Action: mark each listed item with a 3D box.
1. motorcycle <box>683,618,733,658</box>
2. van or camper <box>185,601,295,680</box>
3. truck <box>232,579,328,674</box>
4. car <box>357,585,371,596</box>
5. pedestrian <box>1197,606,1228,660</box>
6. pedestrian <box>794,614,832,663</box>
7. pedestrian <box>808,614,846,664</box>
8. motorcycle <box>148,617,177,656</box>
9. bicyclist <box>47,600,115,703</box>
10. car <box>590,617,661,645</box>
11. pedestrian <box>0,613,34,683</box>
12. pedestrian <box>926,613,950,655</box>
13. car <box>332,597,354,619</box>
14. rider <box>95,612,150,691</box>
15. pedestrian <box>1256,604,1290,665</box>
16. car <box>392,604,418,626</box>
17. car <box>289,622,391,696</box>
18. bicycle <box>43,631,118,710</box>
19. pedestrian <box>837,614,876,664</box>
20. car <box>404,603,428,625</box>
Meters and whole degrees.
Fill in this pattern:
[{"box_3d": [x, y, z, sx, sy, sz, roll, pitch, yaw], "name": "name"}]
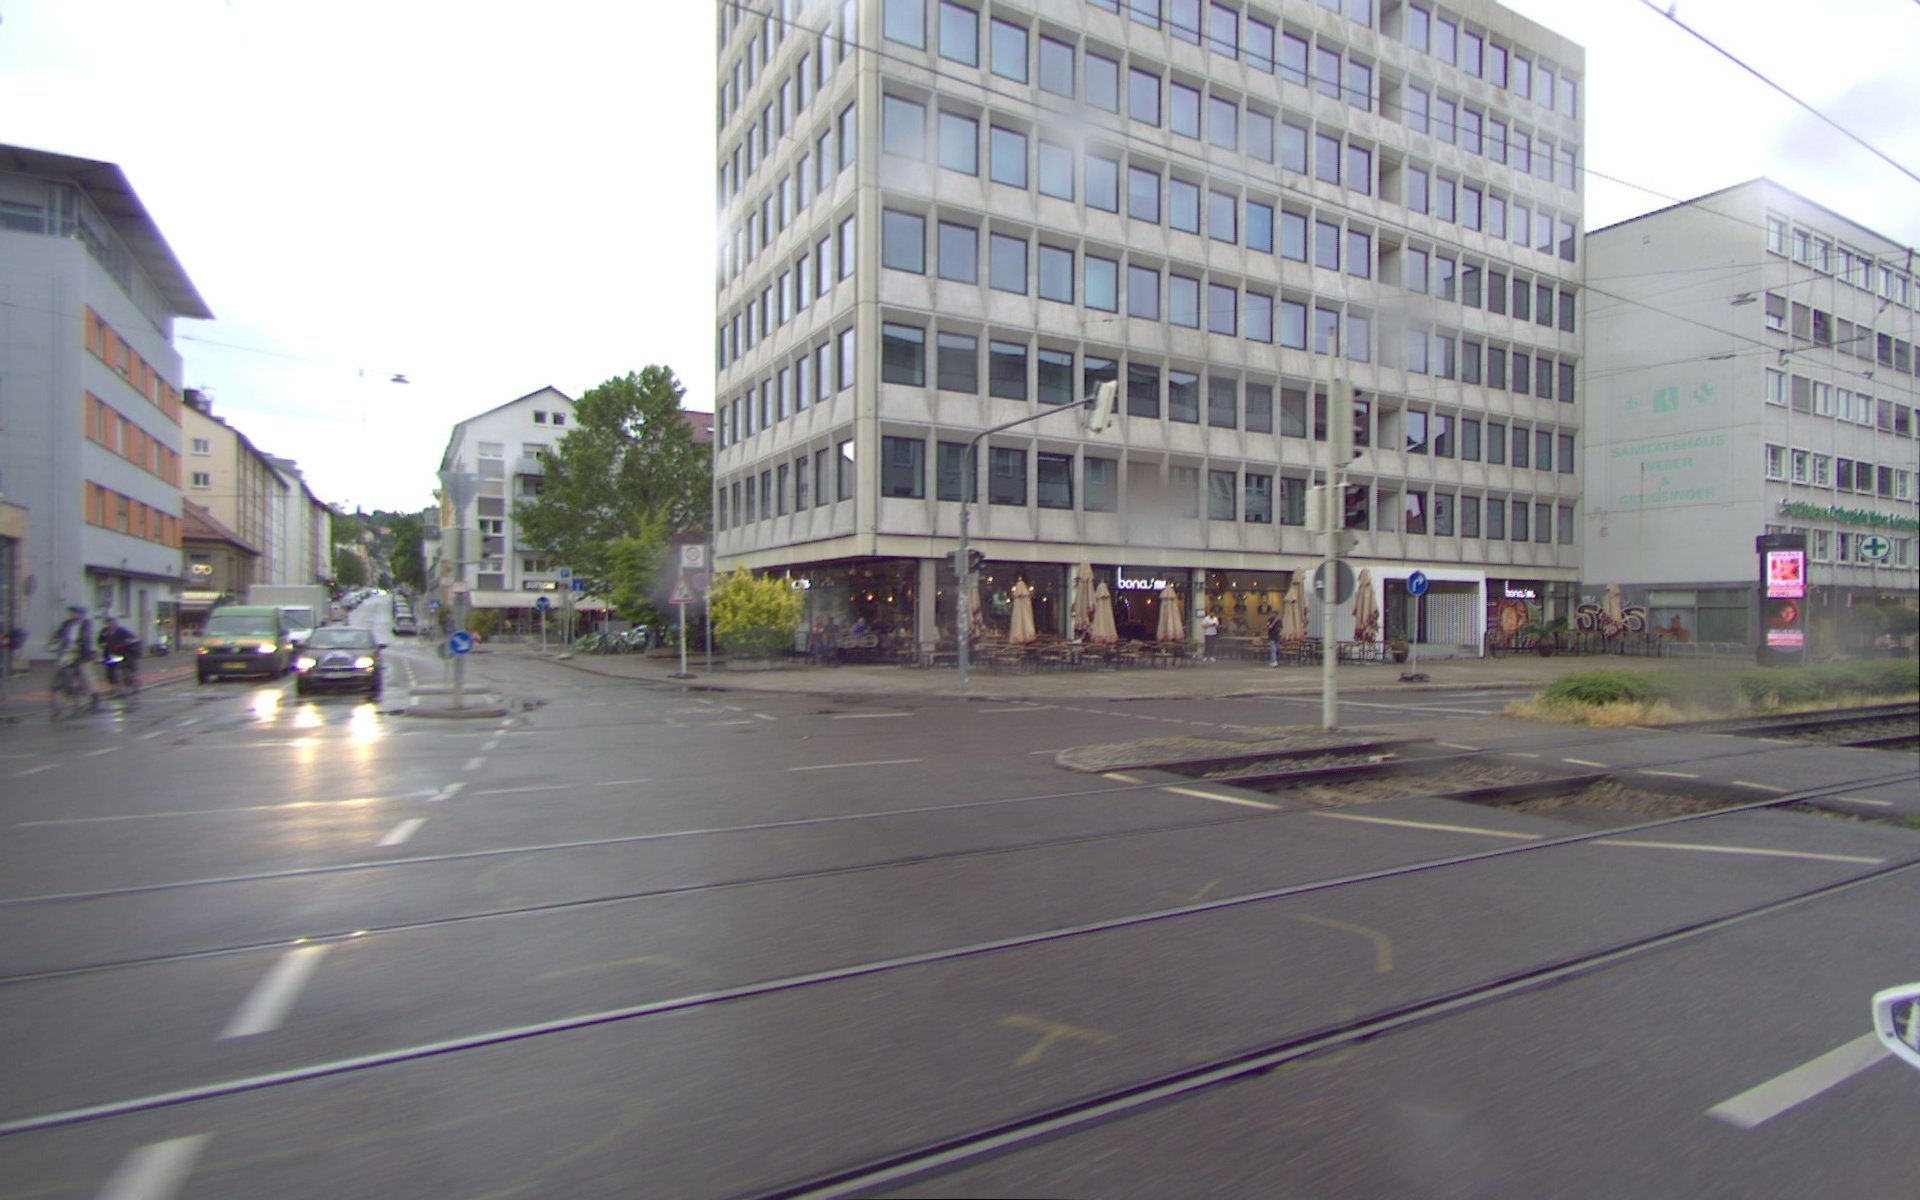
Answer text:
[{"box_3d": [-10.966, 1.662, 43.744, 2.047, 1.741, 0.877, 1, -2, -19], "name": "motorcycle"}, {"box_3d": [-20.952, 1.128, 29.455, 2.072, 2.089, 5.058, 1, -1, -30], "name": "van or camper"}, {"box_3d": [-25.203, 0.946, 37.474, 2.433, 3.206, 7.113, 1, -1, -30], "name": "truck"}, {"box_3d": [-116.362, -1.843, 196.143, 1.974, 2.040, 3.974, 3, -3, -26], "name": "car"}, {"box_3d": [8.467, 1.111, 33.696, 0.836, 1.772, 0.561, 2, -1, -34], "name": "pedestrian"}, {"box_3d": [-4.776, 1.245, 32.584, 0.887, 1.553, 0.957, 1, -1, -31], "name": "pedestrian"}, {"box_3d": [-4.178, 1.217, 31.559, 0.886, 1.553, 0.957, 1, -1, -29], "name": "pedestrian"}, {"box_3d": [-36.226, 1.662, 45.632, 0.725, 1.714, 2.150, 1, -1, -31], "name": "motorcycle"}, {"box_3d": [-15.964, 0.927, 18.261, 0.775, 1.828, 0.705, 1, -1, -30], "name": "bicyclist"}, {"box_3d": [-23.306, 2.160, 69.930, 4.557, 1.870, 2.093, 2, -2, -23], "name": "car"}, {"box_3d": [-22.784, 1.142, 24.077, 0.695, 1.658, 0.576, 1, -1, -29], "name": "pedestrian"}, {"box_3d": [-0.703, 1.082, 32.049, 0.547, 1.339, 0.520, 2, -1, -29], "name": "pedestrian"}, {"box_3d": [-58.670, 0.766, 95.540, 1.637, 2.040, 3.457, 1, -1, -30], "name": "car"}, {"box_3d": [-18.500, 1.121, 22.209, 0.775, 1.698, 0.705, 1, -1, -30], "name": "rider"}, {"box_3d": [9.662, 1.071, 31.006, 0.836, 1.847, 0.561, 2, -1, -34], "name": "pedestrian"}, {"box_3d": [-45.683, 1.227, 82.607, 1.761, 1.757, 4.131, 2, -1, -30], "name": "car"}, {"box_3d": [-14.599, 1.324, 23.697, 1.870, 1.550, 3.966, 1, -1, -32], "name": "car"}, {"box_3d": [-15.923, 1.242, 18.228, 0.652, 1.328, 1.755, 1, -1, -30], "name": "bicycle"}, {"box_3d": [-3.301, 1.235, 32.003, 0.954, 1.553, 0.889, 1, -1, -31], "name": "pedestrian"}, {"box_3d": [-48.178, 1.239, 88.919, 1.761, 1.895, 3.991, 2, -1, -30], "name": "car"}]
